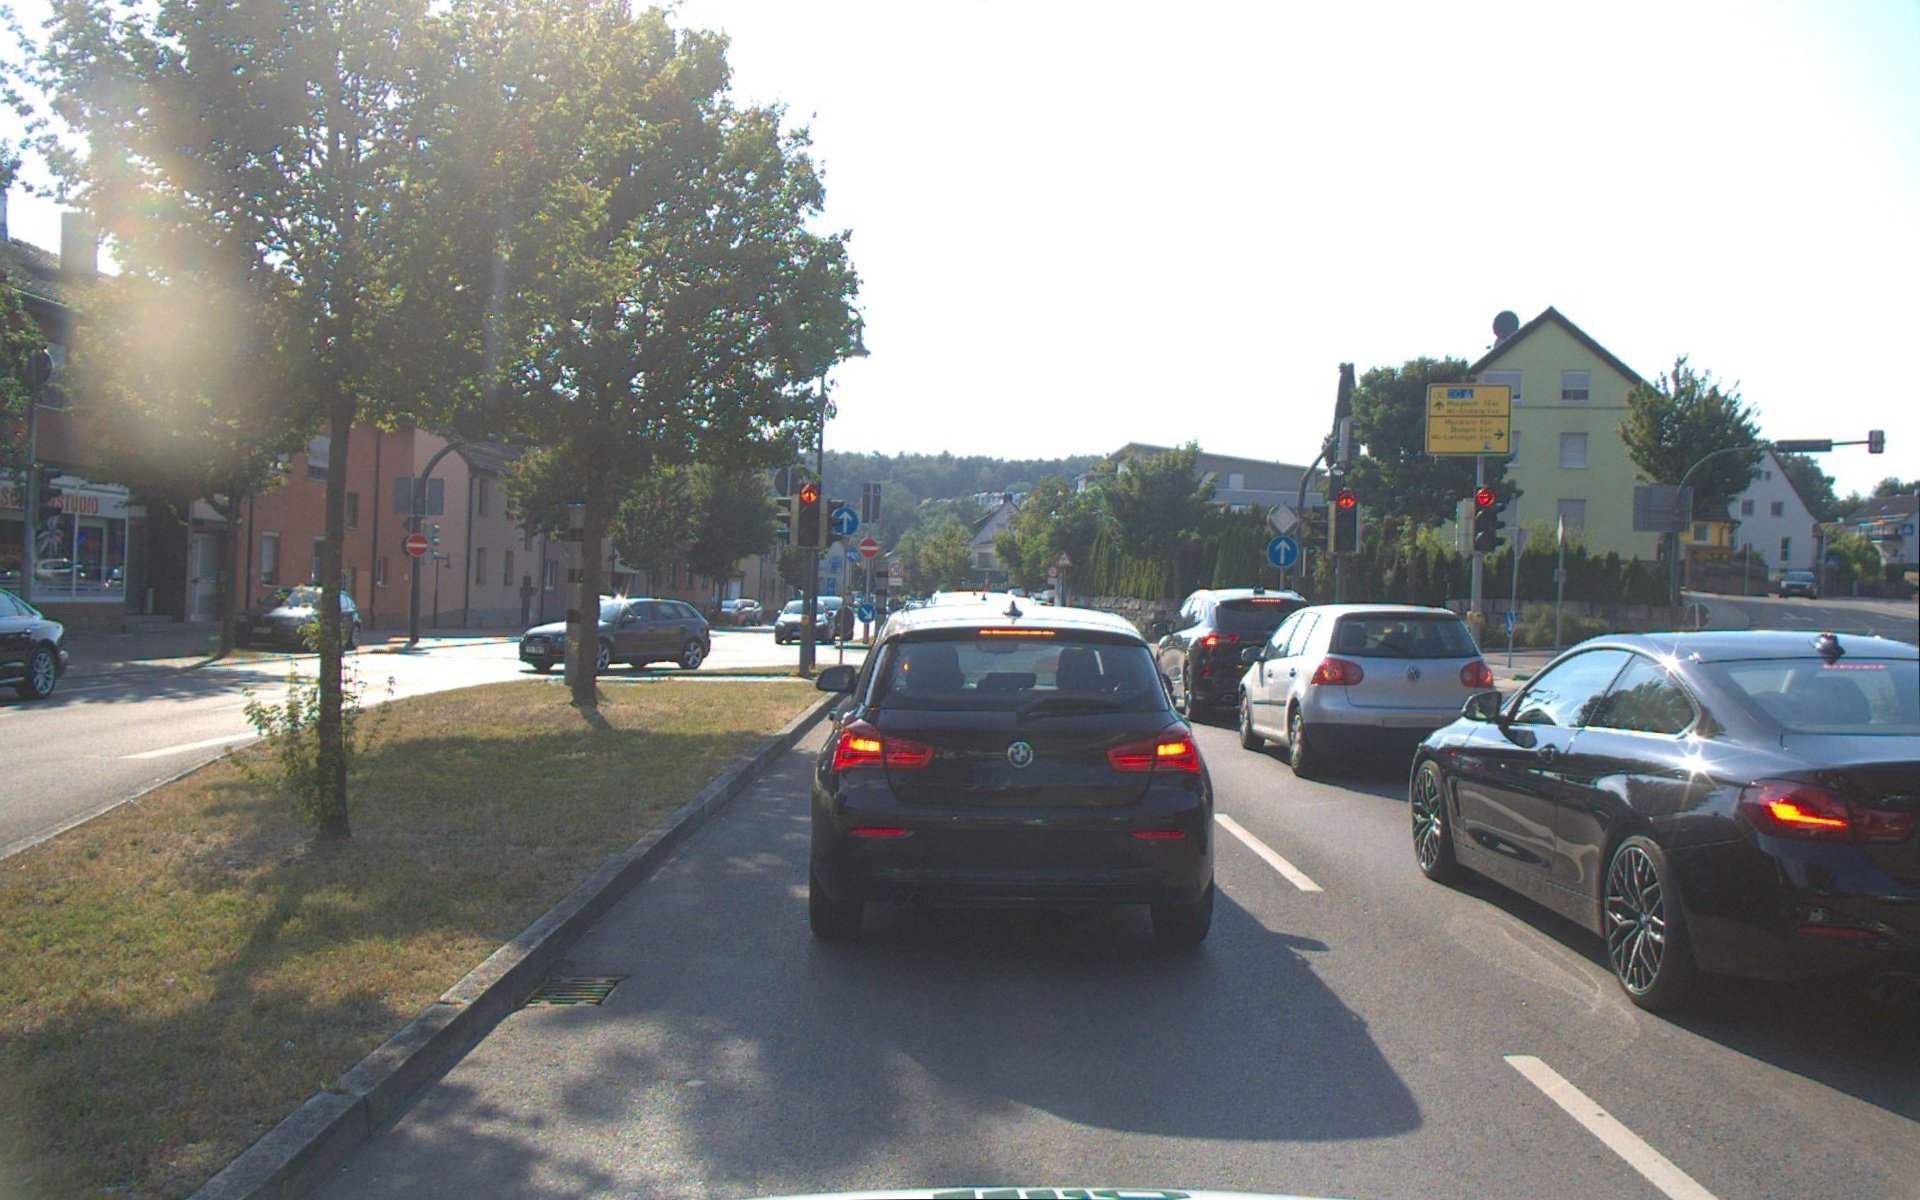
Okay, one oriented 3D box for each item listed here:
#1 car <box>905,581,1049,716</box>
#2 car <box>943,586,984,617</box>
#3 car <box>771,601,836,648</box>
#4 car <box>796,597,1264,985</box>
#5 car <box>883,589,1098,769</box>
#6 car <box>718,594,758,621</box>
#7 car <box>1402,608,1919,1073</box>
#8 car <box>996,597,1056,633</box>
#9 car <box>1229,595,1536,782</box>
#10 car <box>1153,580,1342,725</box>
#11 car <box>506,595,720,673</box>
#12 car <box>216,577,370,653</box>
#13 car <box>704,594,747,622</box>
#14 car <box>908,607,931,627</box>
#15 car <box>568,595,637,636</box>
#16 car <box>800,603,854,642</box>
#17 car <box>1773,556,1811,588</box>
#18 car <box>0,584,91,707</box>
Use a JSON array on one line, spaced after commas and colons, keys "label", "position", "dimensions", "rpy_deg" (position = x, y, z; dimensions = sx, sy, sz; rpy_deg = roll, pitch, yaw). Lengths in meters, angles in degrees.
[{"label": "car", "position": [0.235, 0.598, 22.831], "dimensions": [1.779, 1.670, 4.242], "rpy_deg": [1, 0, 1]}, {"label": "car", "position": [0.196, 0.082, 93.799], "dimensions": [1.854, 1.732, 4.518], "rpy_deg": [0, 0, -6]}, {"label": "car", "position": [-5.292, 0.808, 56.377], "dimensions": [1.730, 1.484, 4.000], "rpy_deg": [1, 0, 1]}, {"label": "car", "position": [0.292, 0.720, 8.448], "dimensions": [1.754, 1.439, 4.347], "rpy_deg": [1, 0, 1]}, {"label": "car", "position": [0.282, 0.653, 15.963], "dimensions": [1.779, 1.476, 4.242], "rpy_deg": [1, 0, 1]}, {"label": "car", "position": [-13.936, 0.447, 104.193], "dimensions": [1.884, 1.624, 4.000], "rpy_deg": [1, 0, 1]}, {"label": "car", "position": [3.422, 0.774, 7.360], "dimensions": [1.779, 1.413, 4.347], "rpy_deg": [1, 0, 1]}, {"label": "car", "position": [2.965, 0.649, 75.054], "dimensions": [1.827, 1.511, 4.649], "rpy_deg": [1, 0, -9]}, {"label": "car", "position": [3.735, 0.700, 15.409], "dimensions": [1.779, 1.471, 4.347], "rpy_deg": [1, 0, 1]}, {"label": "car", "position": [3.672, 0.614, 21.848], "dimensions": [1.779, 1.695, 4.347], "rpy_deg": [1, 0, 1]}, {"label": "car", "position": [-6.783, 0.638, 32.692], "dimensions": [1.617, 1.411, 4.176], "rpy_deg": [1, 0, 34]}, {"label": "car", "position": [-15.608, 0.326, 38.914], "dimensions": [1.805, 1.579, 4.001], "rpy_deg": [3, 0, 2]}, {"label": "car", "position": [-13.975, 0.468, 98.687], "dimensions": [1.884, 1.624, 4.000], "rpy_deg": [1, 0, 1]}, {"label": "car", "position": [-3.332, 1.399, 136.671], "dimensions": [1.885, 1.624, 3.999], "rpy_deg": [1, 0, -1]}, {"label": "car", "position": [-14.654, 0.616, 68.013], "dimensions": [1.884, 1.624, 4.000], "rpy_deg": [1, 0, 1]}, {"label": "car", "position": [-5.083, 0.840, 63.446], "dimensions": [1.658, 1.377, 4.000], "rpy_deg": [1, 0, 1]}, {"label": "car", "position": [45.584, -1.562, 90.558], "dimensions": [1.752, 1.533, 4.065], "rpy_deg": [1, 4, 28]}, {"label": "car", "position": [-12.322, 0.531, 19.437], "dimensions": [1.806, 1.446, 4.643], "rpy_deg": [1, 0, -1]}]
